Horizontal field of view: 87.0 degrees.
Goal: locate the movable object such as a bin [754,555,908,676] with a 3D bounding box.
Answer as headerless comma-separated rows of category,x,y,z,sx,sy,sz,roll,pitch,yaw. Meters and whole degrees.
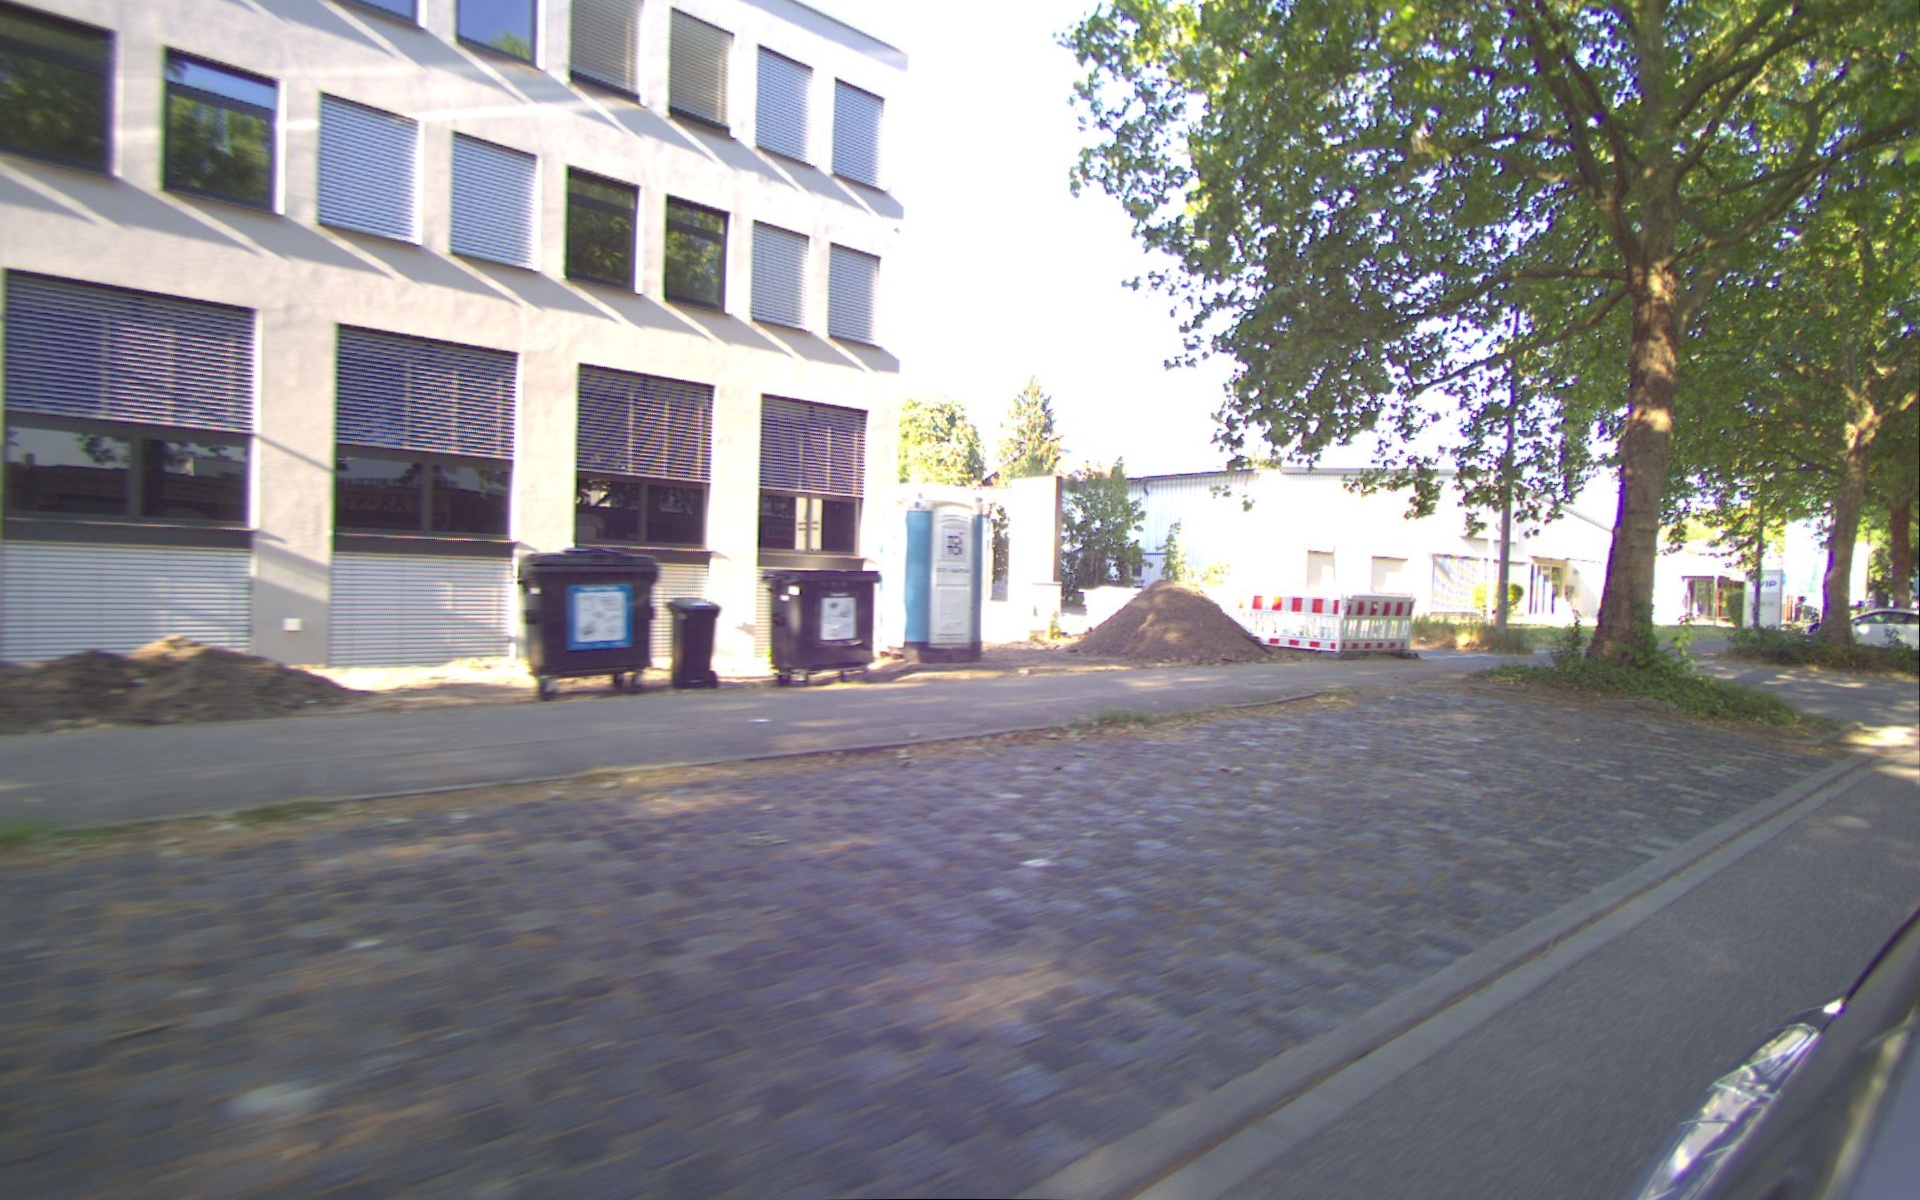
movable object such as a bin,-1.440,0.155,11.446,1.583,1.279,0.749,0,0,-41

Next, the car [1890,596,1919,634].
car,39.147,0.711,39.256,4.396,1.435,1.968,6,4,45

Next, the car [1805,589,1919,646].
car,28.738,0.559,31.130,1.637,1.531,3.943,0,4,-40

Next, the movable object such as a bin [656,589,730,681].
movable object such as a bin,-2.768,0.347,10.493,0.589,0.911,0.493,0,0,-42

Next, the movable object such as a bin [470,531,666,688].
movable object such as a bin,-3.706,0.079,9.621,1.592,1.367,0.749,0,0,-41
